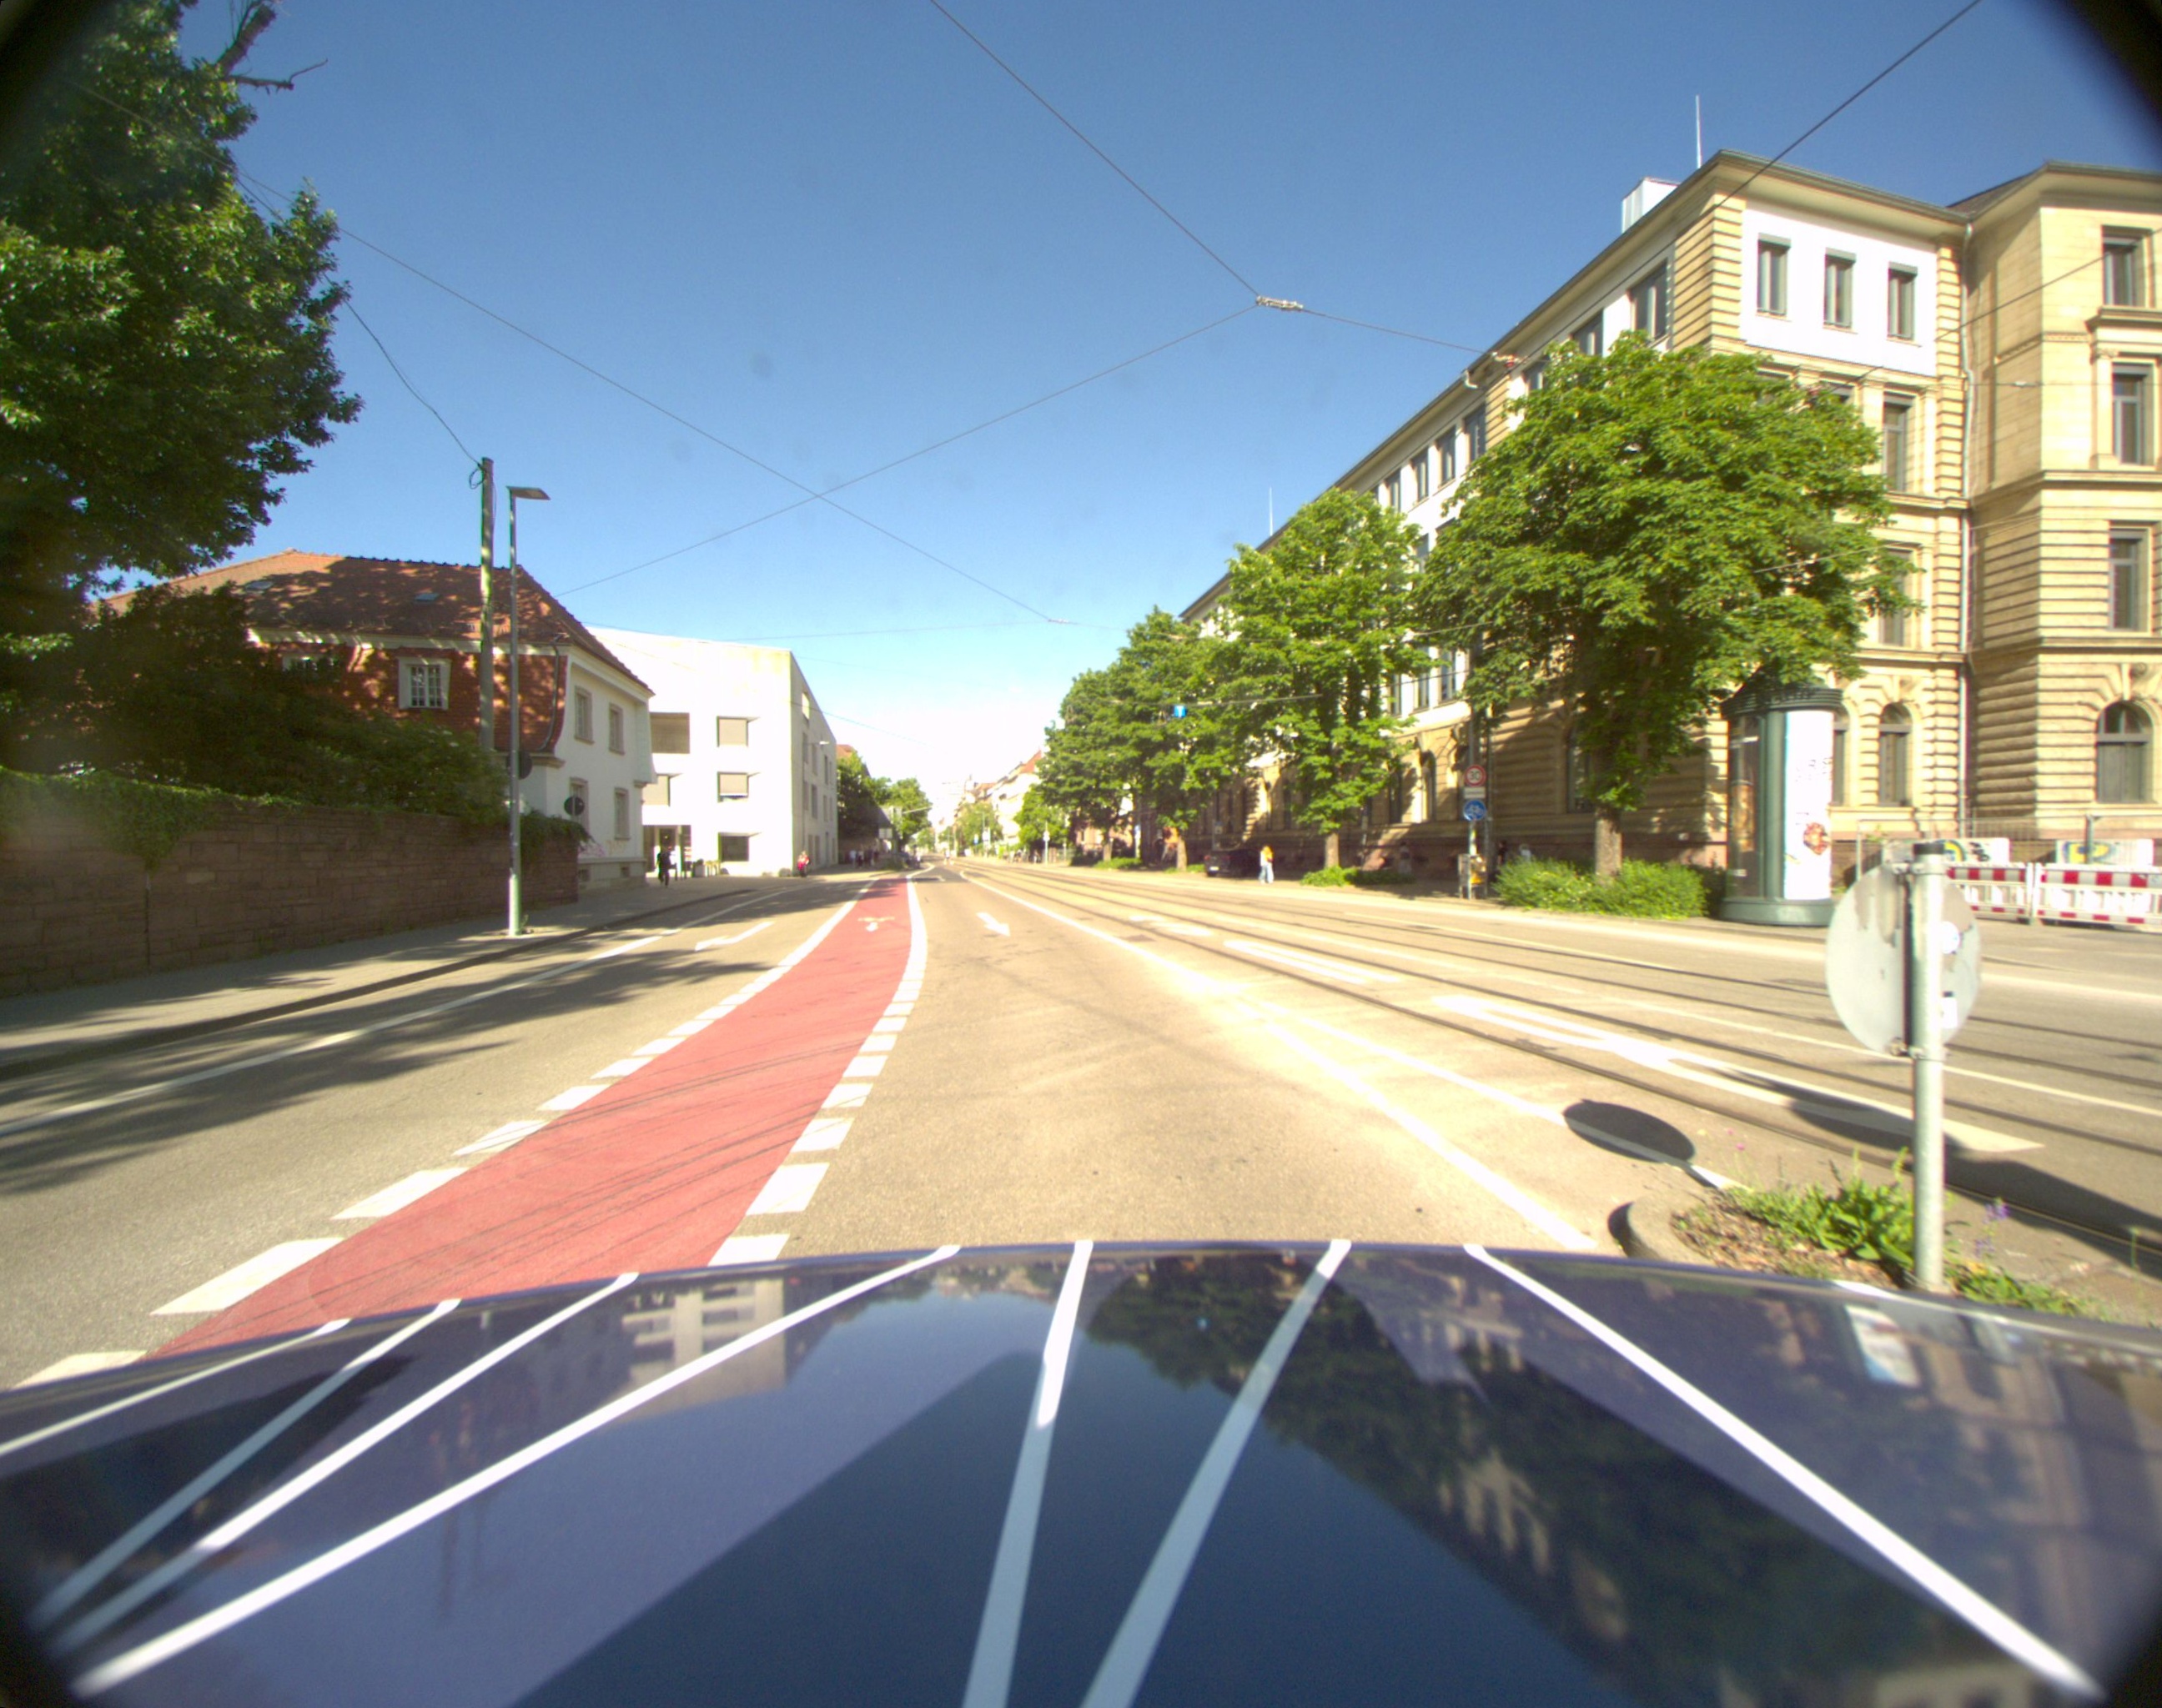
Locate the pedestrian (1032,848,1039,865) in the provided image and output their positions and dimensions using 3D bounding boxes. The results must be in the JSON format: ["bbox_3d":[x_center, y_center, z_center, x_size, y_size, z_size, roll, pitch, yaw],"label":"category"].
[{"bbox_3d":[-4.816,0.255,80.245,0.579,1.845,0.653,-1,1,-16],"label":"pedestrian"}]

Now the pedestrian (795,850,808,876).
[{"bbox_3d":[-16.759,0.534,45.579,0.533,1.557,0.521,0,1,16],"label":"pedestrian"}]

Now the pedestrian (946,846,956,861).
[{"bbox_3d":[-14.930,-0.021,87.086,0.933,1.728,0.677,-1,1,-31],"label":"pedestrian"}]

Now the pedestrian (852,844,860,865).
[{"bbox_3d":[-19.195,0.061,64.936,0.588,1.796,0.545,-1,1,-13],"label":"pedestrian"}]

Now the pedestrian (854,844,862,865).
[{"bbox_3d":[-19.486,0.041,66.494,0.588,1.796,0.582,-1,1,-13],"label":"pedestrian"}]

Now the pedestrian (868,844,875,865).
[{"bbox_3d":[-18.407,0.059,66.774,0.588,1.796,0.582,-1,1,-13],"label":"pedestrian"}]

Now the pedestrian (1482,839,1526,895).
[{"bbox_3d":[12.907,0.384,23.205,0.730,1.660,0.845,-1,4,-14],"label":"pedestrian"}]

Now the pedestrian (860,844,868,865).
[{"bbox_3d":[-18.522,0.042,64.921,0.588,1.796,0.545,-1,1,-13],"label":"pedestrian"}]

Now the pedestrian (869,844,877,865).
[{"bbox_3d":[-17.804,0.046,65.079,0.588,1.796,0.519,-1,1,-13],"label":"pedestrian"}]

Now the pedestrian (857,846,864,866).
[{"bbox_3d":[-19.788,0.175,68.153,0.588,1.796,0.545,-1,1,-13],"label":"pedestrian"}]

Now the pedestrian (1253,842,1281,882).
[{"bbox_3d":[8.019,0.353,32.775,0.772,1.658,1.033,1,-3,-16],"label":"pedestrian"}]

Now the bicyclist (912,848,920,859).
[{"bbox_3d":[-32.402,-0.128,149.350,1.018,2.255,1.005,1,3,43],"label":"bicyclist"}]

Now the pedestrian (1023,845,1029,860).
[{"bbox_3d":[-6.880,-0.202,95.335,0.579,1.845,0.684,-1,1,-12],"label":"pedestrian"}]

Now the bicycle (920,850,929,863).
[{"bbox_3d":[-14.280,0.236,69.236,0.665,1.146,1.670,-2,2,-8],"label":"bicycle"}]

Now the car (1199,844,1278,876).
[{"bbox_3d":[8.307,0.292,39.887,4.118,1.565,1.915,-1,1,-40],"label":"car"}]

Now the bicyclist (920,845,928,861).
[{"bbox_3d":[-14.286,-0.100,69.203,0.665,1.453,0.622,-2,2,-8],"label":"bicyclist"}]

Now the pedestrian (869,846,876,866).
[{"bbox_3d":[-18.781,0.199,68.416,0.588,1.796,0.545,-1,1,-13],"label":"pedestrian"}]

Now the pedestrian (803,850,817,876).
[{"bbox_3d":[-16.178,0.521,45.400,0.533,1.557,0.521,0,1,16],"label":"pedestrian"}]

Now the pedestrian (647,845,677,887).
[{"bbox_3d":[-16.976,0.474,30.806,0.941,1.668,0.952,2,1,-22],"label":"pedestrian"}]

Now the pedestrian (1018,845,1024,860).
[{"bbox_3d":[-7.526,-0.177,95.158,0.579,1.845,0.684,-1,1,-12],"label":"pedestrian"}]

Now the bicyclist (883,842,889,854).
[{"bbox_3d":[-36.022,-1.069,140.226,0.813,2.194,0.983,-2,2,-11],"label":"bicyclist"}]

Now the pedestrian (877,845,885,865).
[{"bbox_3d":[-17.242,0.052,65.488,0.588,1.717,0.519,-1,1,-13],"label":"pedestrian"}]

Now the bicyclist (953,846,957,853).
[{"bbox_3d":[-31.835,-1.197,191.884,1.004,1.712,0.983,-2,2,-12],"label":"bicyclist"}]

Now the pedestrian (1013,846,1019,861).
[{"bbox_3d":[-8.161,-0.045,95.089,0.729,1.845,0.653,-1,1,-10],"label":"pedestrian"}]

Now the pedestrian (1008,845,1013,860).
[{"bbox_3d":[-8.907,-0.150,95.547,0.579,1.845,0.684,-1,1,-12],"label":"pedestrian"}]

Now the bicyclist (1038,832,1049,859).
[{"bbox_3d":[-4.333,-0.982,87.265,1.003,2.959,1.474,-1,2,4],"label":"bicyclist"}]

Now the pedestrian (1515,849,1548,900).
[{"bbox_3d":[13.942,0.619,23.532,0.579,1.553,0.653,-1,1,-12],"label":"pedestrian"}]

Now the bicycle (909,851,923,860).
[{"bbox_3d":[-32.411,0.256,149.378,2.976,1.672,1.005,0,3,43],"label":"bicycle"}]

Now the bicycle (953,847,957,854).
[{"bbox_3d":[-31.821,-0.800,191.907,1.004,1.672,2.980,-2,2,-12],"label":"bicycle"}]

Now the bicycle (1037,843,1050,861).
[{"bbox_3d":[-4.309,-0.245,87.354,1.003,1.877,3.894,-1,2,4],"label":"bicycle"}]

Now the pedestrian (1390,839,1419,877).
[{"bbox_3d":[13.821,0.162,32.466,0.673,1.558,0.857,-5,3,-16],"label":"pedestrian"}]
